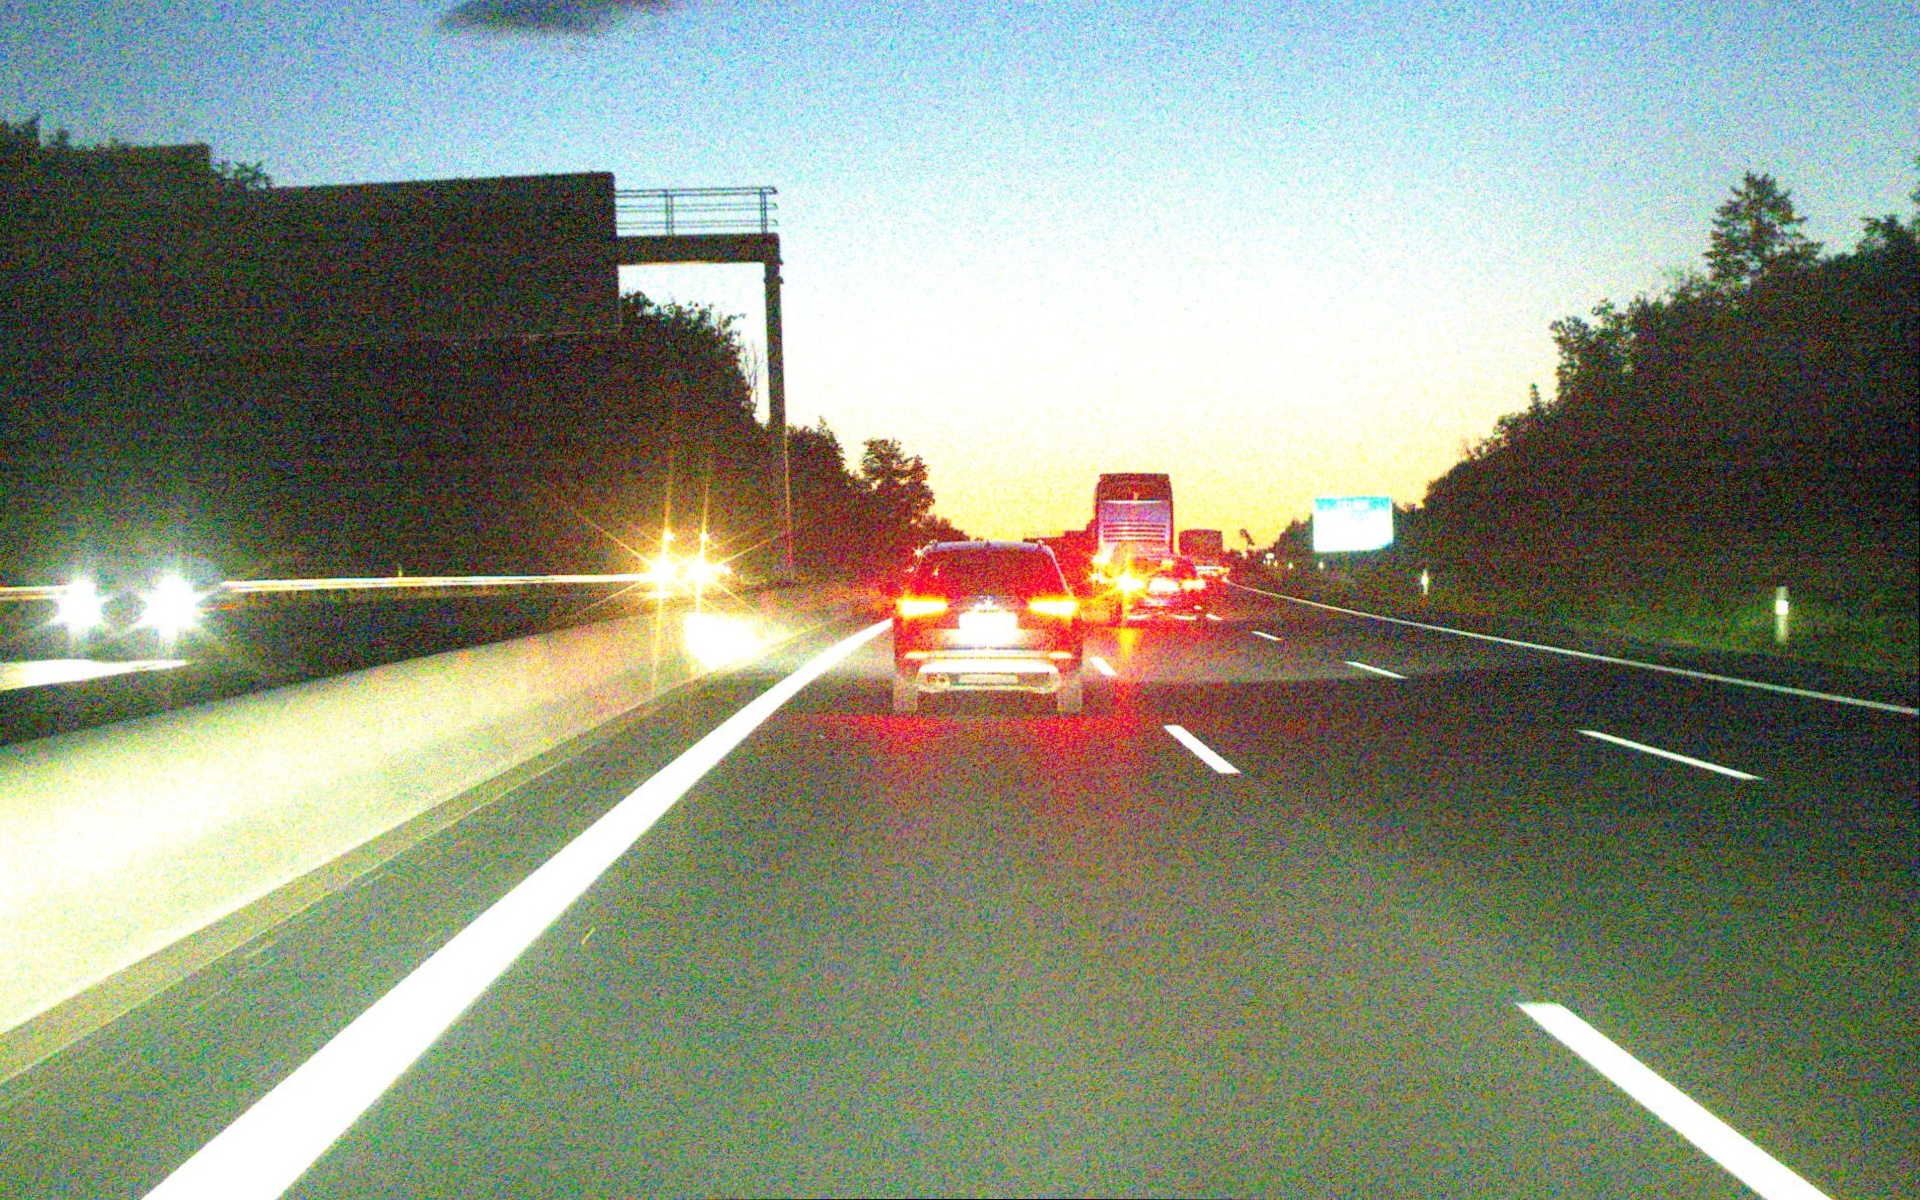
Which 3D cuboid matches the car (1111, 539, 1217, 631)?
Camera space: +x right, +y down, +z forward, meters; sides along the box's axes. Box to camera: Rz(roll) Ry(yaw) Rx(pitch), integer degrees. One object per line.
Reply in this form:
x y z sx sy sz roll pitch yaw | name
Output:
4.130 -0.281 70.088 1.911 1.724 4.000 3 0 1 | car

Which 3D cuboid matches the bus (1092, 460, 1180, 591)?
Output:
6.106 -2.409 117.462 2.652 3.980 14.699 -2 0 4 | bus

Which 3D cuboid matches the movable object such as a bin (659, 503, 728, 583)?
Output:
-11.619 -2.502 150.449 2.208 3.405 7.437 0 1 2 | movable object such as a bin

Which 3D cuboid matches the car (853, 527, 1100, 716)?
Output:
0.084 0.147 32.827 2.105 1.612 4.205 1 2 -3 | car

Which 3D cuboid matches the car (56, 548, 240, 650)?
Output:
-11.997 -0.051 51.037 1.813 1.448 4.134 0 1 -1 | car

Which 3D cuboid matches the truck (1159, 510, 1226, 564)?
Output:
13.357 -3.597 198.316 2.545 3.005 9.054 1 1 -4 | truck
